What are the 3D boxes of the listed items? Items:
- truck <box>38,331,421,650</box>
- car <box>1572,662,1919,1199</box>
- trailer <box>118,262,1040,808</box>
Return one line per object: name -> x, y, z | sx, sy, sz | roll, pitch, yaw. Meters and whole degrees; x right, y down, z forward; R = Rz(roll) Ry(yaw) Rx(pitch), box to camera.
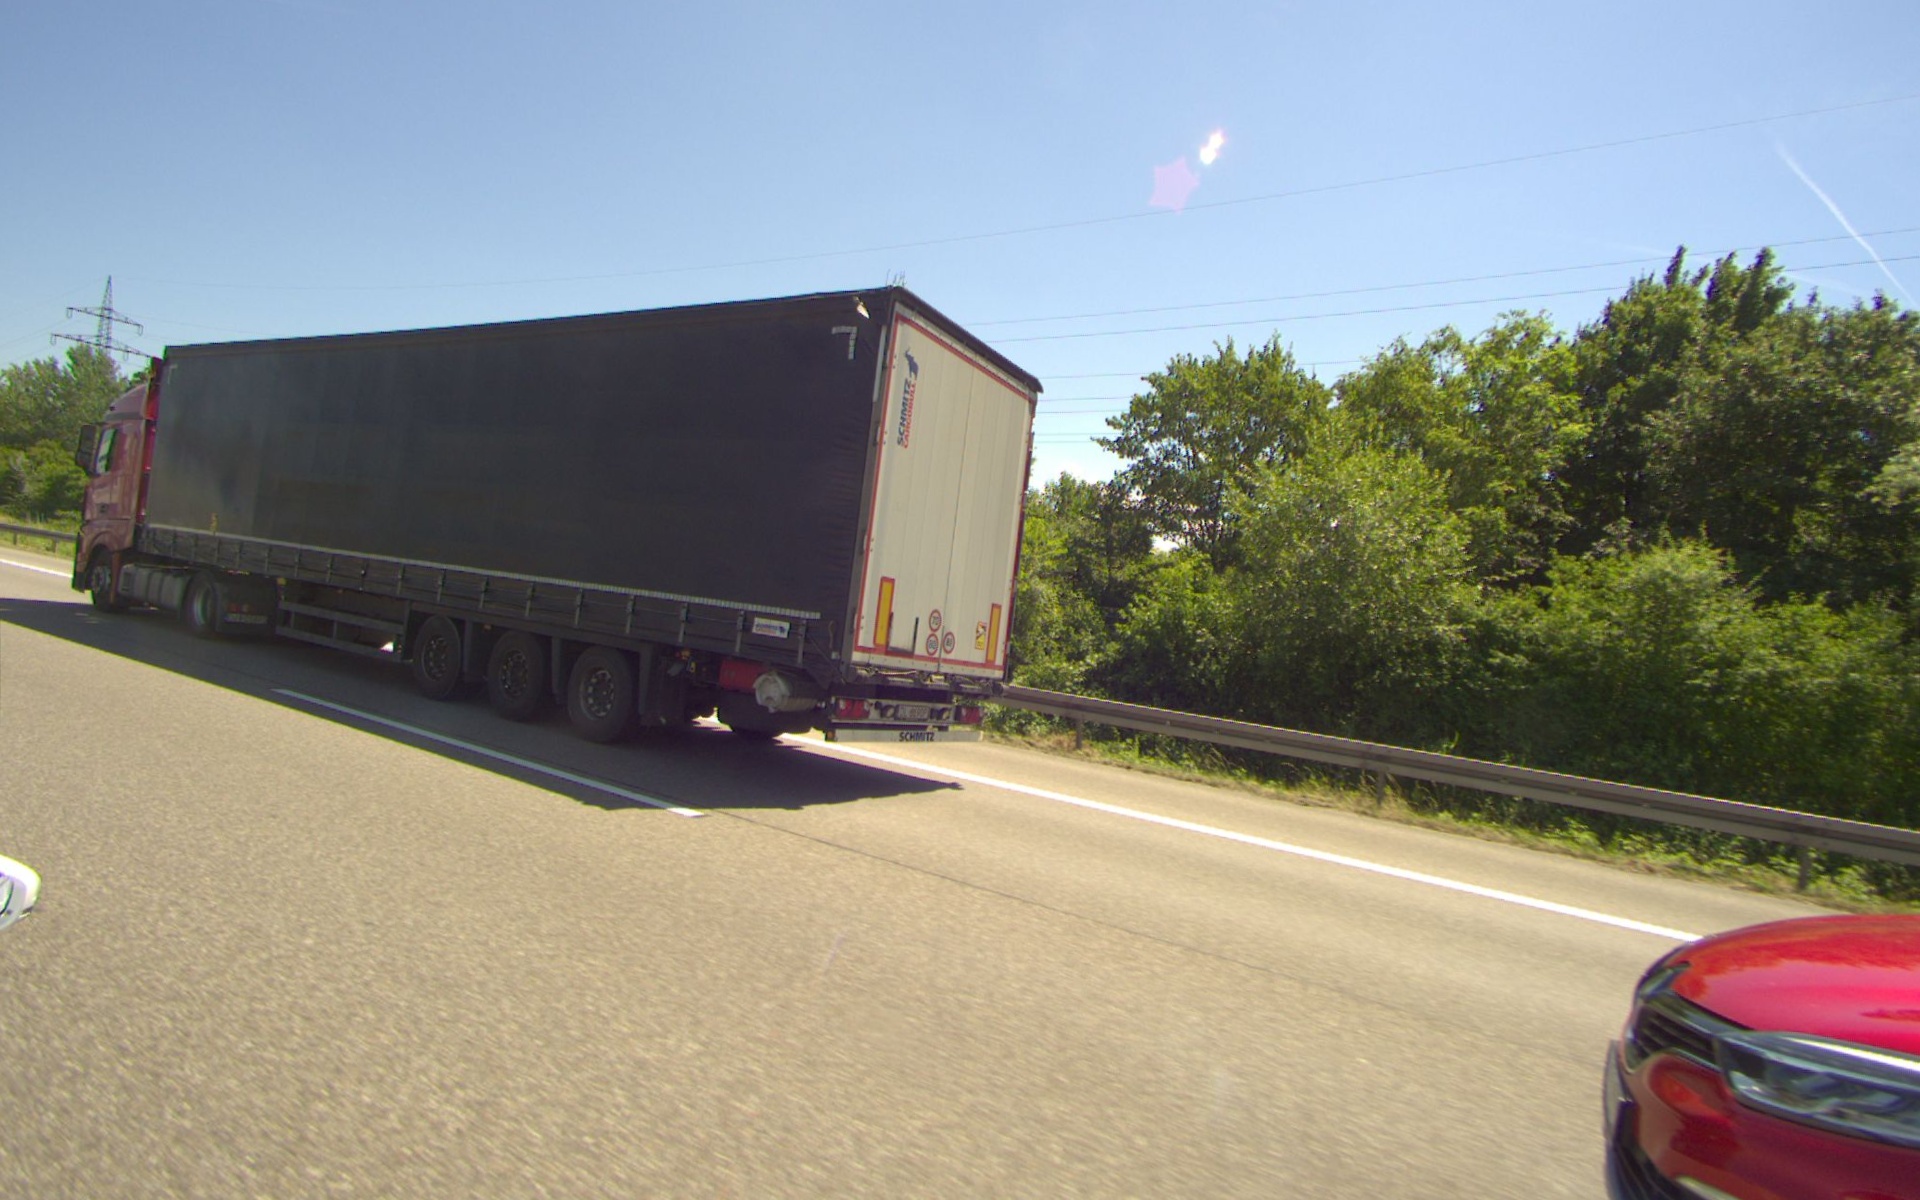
truck -> -11.897, -1.684, 16.301 | 5.628, 4.213, 2.799 | 6, -1, 32
car -> 3.384, 1.160, 1.636 | 3.934, 1.563, 1.806 | 6, -1, 32
trailer -> -5.783, -1.002, 12.437 | 13.350, 4.213, 2.793 | 6, -1, 32
